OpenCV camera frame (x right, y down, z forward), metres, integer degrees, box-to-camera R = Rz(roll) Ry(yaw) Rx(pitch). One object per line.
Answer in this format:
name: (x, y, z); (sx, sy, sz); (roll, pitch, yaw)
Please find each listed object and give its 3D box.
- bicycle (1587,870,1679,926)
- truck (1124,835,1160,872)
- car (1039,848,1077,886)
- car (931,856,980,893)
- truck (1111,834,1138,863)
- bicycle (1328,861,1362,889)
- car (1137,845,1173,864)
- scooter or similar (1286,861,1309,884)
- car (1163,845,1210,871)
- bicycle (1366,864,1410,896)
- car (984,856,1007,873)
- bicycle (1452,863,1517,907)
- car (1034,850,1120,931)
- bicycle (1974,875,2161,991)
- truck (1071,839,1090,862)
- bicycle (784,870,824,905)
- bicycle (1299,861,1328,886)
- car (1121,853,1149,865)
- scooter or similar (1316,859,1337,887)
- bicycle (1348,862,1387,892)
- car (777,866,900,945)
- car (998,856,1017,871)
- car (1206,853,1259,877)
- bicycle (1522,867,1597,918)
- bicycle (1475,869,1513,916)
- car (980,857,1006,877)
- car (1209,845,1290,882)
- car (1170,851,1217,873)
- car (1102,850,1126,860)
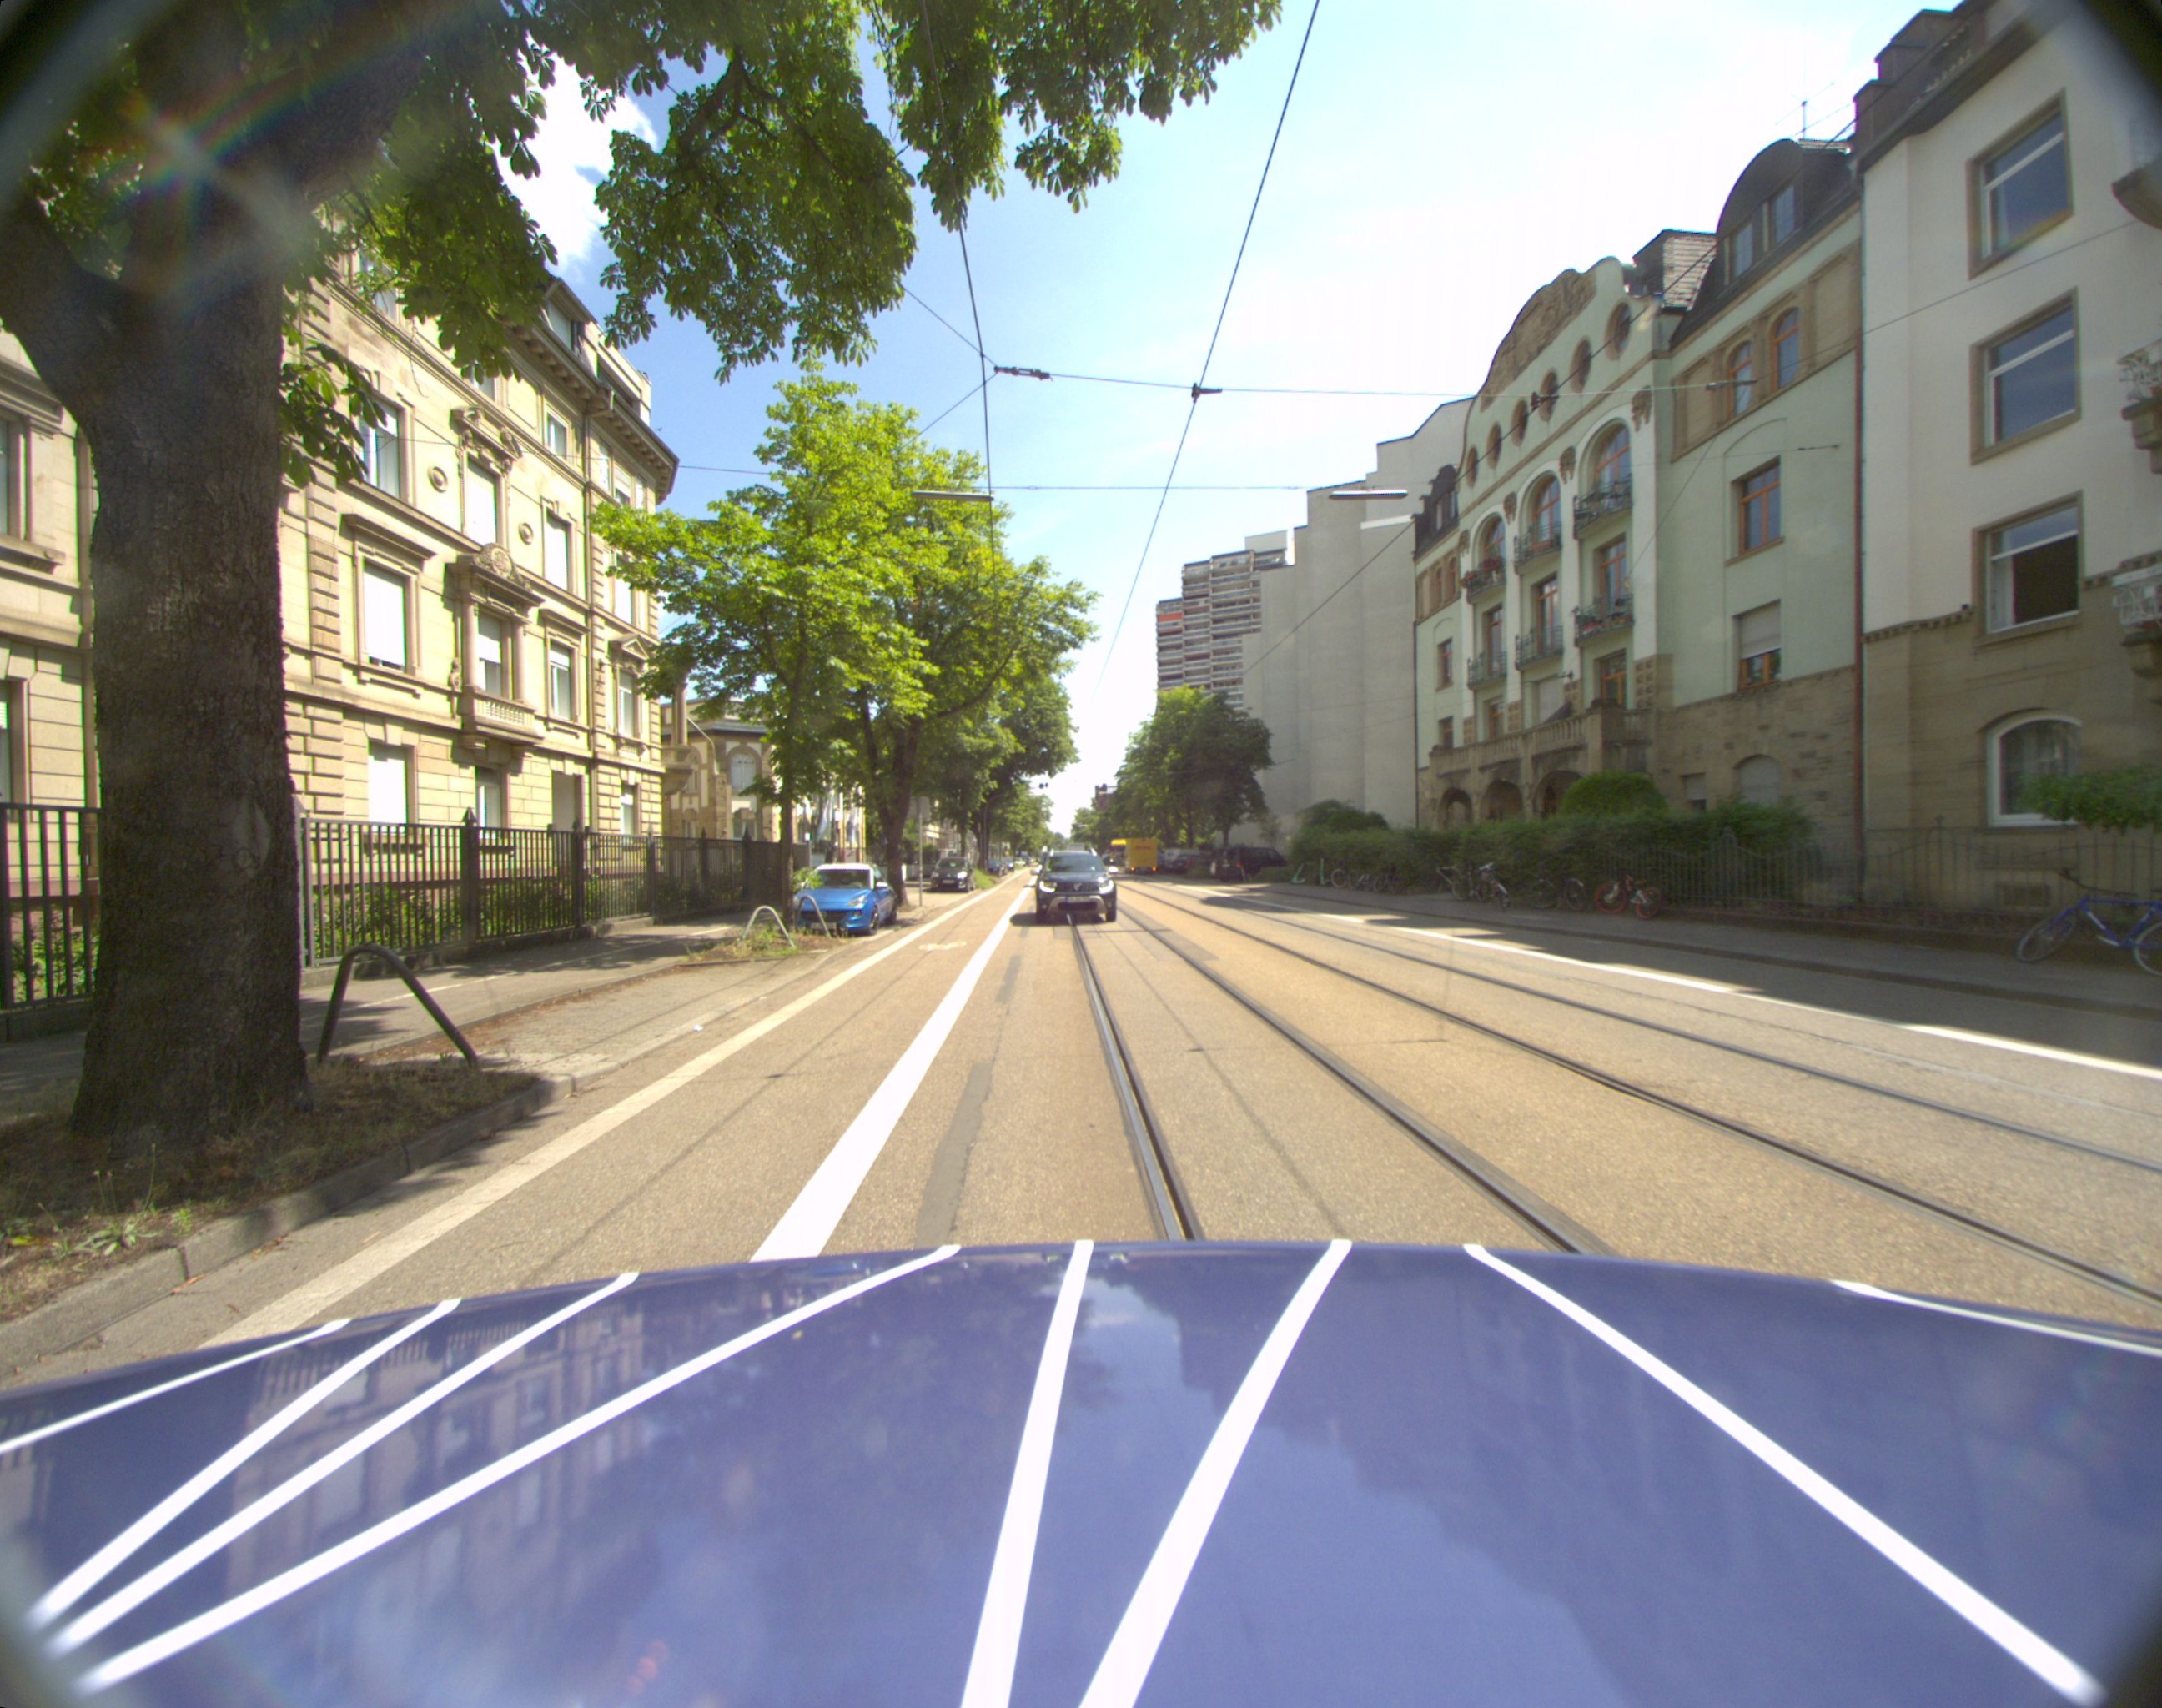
bicycle: (10.719, 0.829, 14.823); (0.414, 0.960, 1.725); (-4, 0, -2)
truck: (4.930, -0.045, 62.521); (2.307, 2.903, 6.514); (-1, 0, -1)
car: (-1.192, 0.641, 39.867); (1.753, 1.806, 4.307); (-3, 0, -1)
car: (-5.826, 0.904, 35.613); (1.734, 1.606, 4.083); (1, 0, -2)
truck: (6.734, -0.812, 117.186); (2.672, 4.155, 10.481); (-1, 0, 11)
bicycle: (10.144, 0.787, 29.255); (0.609, 0.983, 1.707); (-5, 0, -3)
car: (8.612, 0.021, 87.888); (1.873, 2.095, 4.596); (0, 0, 39)
scooter or similar: (9.804, 0.833, 34.458); (0.407, 1.014, 1.222); (-1, 0, -18)
car: (8.621, 0.311, 61.914); (4.061, 2.030, 1.598); (-1, 1, -43)
bicycle: (10.174, 0.841, 25.220); (0.609, 0.970, 1.771); (-5, 0, -3)
car: (-7.418, 0.857, 65.987); (1.626, 1.395, 3.999); (1, 0, -2)
bicycle: (10.539, 0.795, 19.919); (0.609, 1.026, 1.771); (-5, 0, -3)
car: (-0.161, 0.761, 18.098); (1.753, 1.641, 4.296); (-2, 0, -2)
bicycle: (10.957, 0.804, 8.129); (0.609, 1.058, 1.771); (-5, 0, -3)
truck: (-0.090, -0.522, 122.252); (2.792, 3.598, 8.255); (-1, 0, 0)
bicycle: (-9.258, 1.095, 25.496); (0.609, 1.065, 1.980); (-1, 0, 0)
bicycle: (9.972, 0.827, 32.664); (0.609, 0.983, 1.707); (-5, 0, -3)
car: (7.019, 0.612, 98.104); (1.678, 1.445, 3.682); (0, 0, 42)
scooter or similar: (10.032, 0.760, 31.091); (0.407, 1.113, 1.290); (-1, 0, 0)
bicycle: (10.190, 0.806, 27.113); (0.609, 0.983, 1.707); (-5, 0, -3)
car: (-5.120, 1.028, 16.477); (1.696, 1.444, 3.473); (-1, 0, -3)
car: (-7.415, 0.912, 76.867); (1.626, 1.395, 3.999); (1, 0, -2)
car: (9.793, 0.676, 48.937); (1.721, 1.445, 3.635); (0, 0, 42)
bicycle: (10.471, 0.826, 16.698); (0.465, 0.993, 1.707); (-4, 0, -2)
bicycle: (9.584, 0.859, 17.612); (0.608, 0.993, 1.778); (0, 0, 33)
car: (-6.618, 0.976, 57.226); (1.626, 1.395, 3.822); (1, 0, -2)
car: (9.399, 0.491, 42.259); (4.595, 1.914, 1.957); (-1, 0, -39)
car: (8.655, 0.591, 58.428); (3.692, 1.566, 1.678); (-1, 1, -45)
car: (6.361, 0.183, 147.128); (4.338, 1.797, 1.995); (-1, 0, -35)
